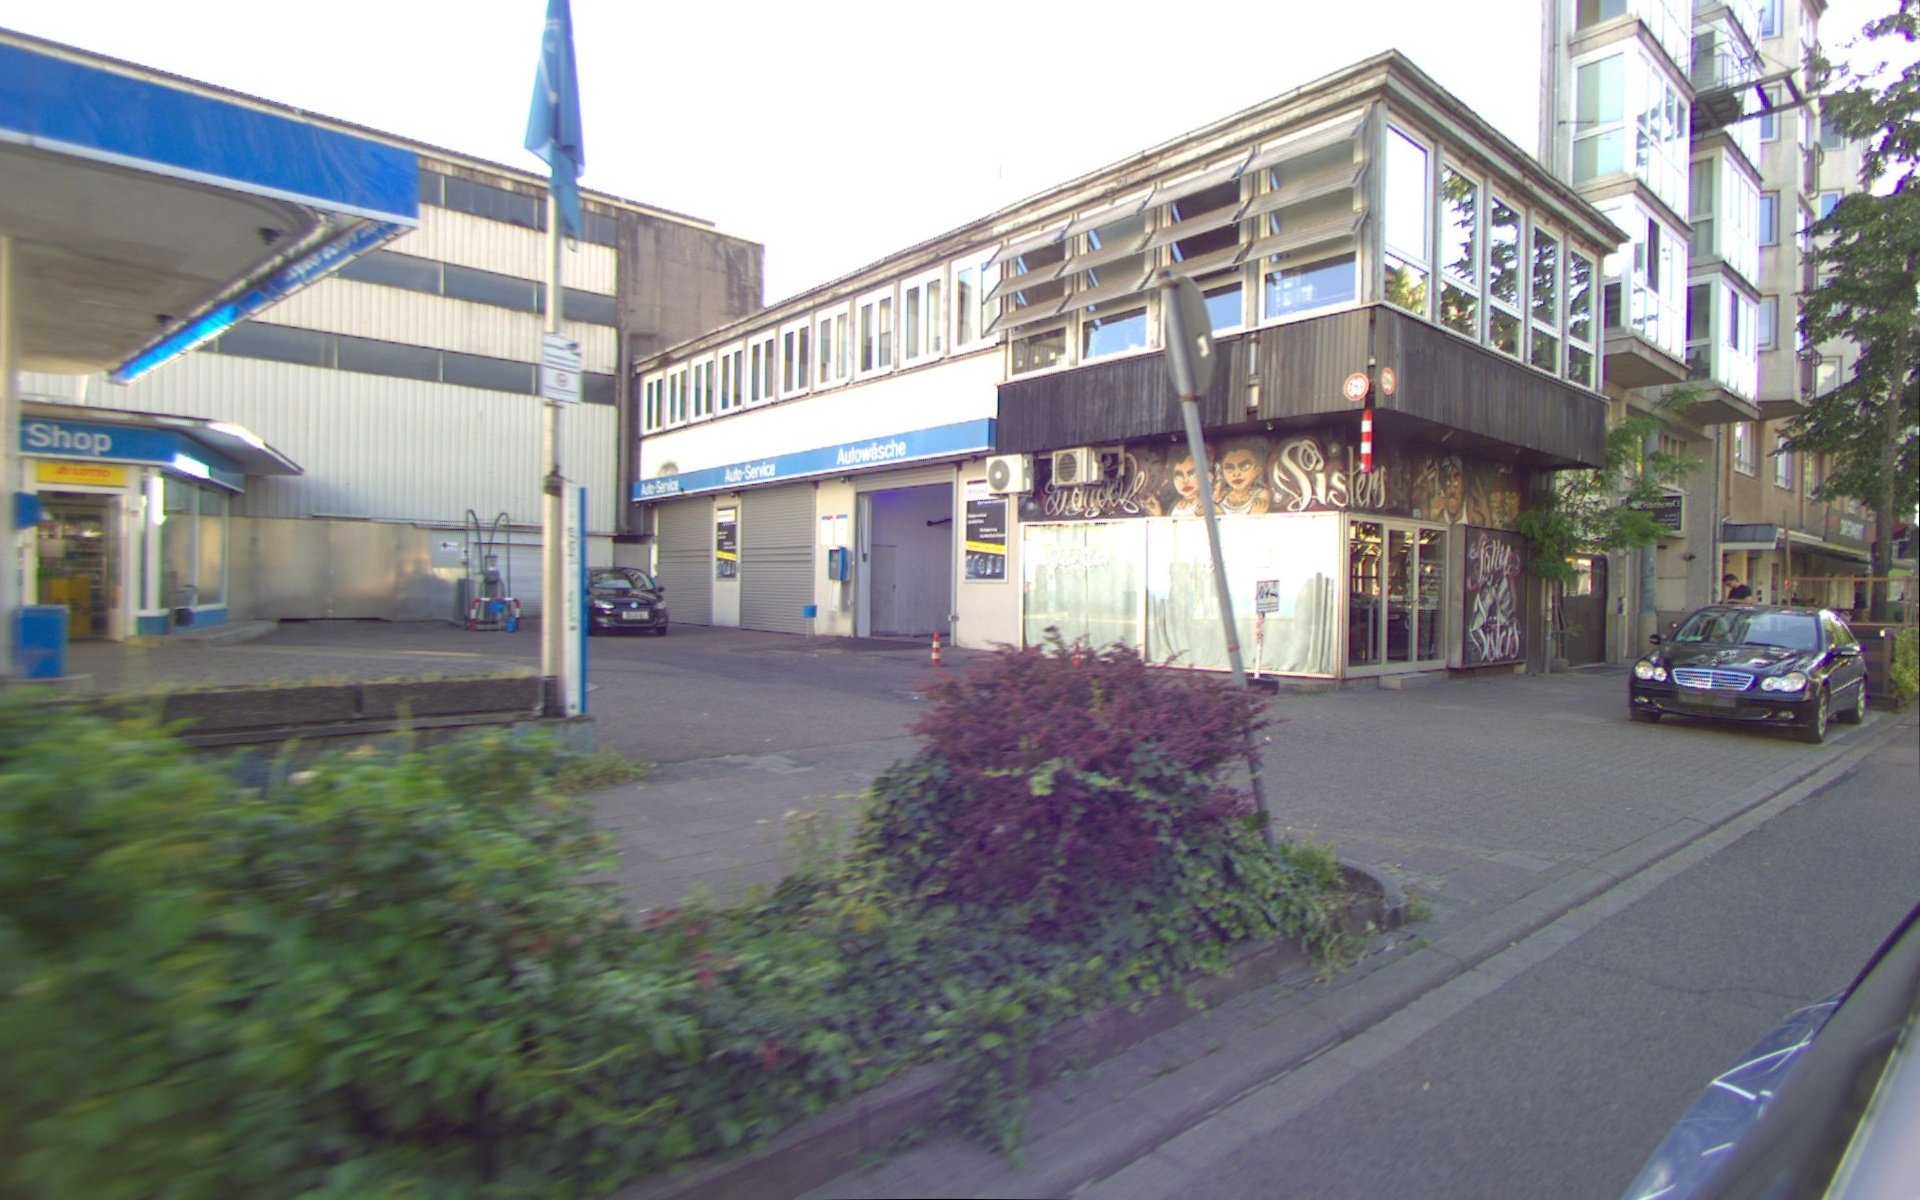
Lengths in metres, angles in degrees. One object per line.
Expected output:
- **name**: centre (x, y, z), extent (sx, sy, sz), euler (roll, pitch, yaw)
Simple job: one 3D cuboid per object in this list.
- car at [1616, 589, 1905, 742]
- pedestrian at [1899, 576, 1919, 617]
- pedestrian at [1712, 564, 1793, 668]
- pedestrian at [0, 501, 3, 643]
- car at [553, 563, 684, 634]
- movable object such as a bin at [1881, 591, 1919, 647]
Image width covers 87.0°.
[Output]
- **car**: centre (9.779, 0.632, 12.224), extent (4.566, 1.429, 1.905), euler (0, 3, -41)
- **pedestrian**: centre (39.727, -0.144, 42.225), extent (0.493, 1.717, 0.632), euler (1, 1, -22)
- **pedestrian**: centre (15.340, 0.299, 19.604), extent (0.745, 1.960, 0.930), euler (1, 1, -15)
- **pedestrian**: centre (-12.536, -0.356, 12.658), extent (0.807, 1.764, 0.816), euler (0, 1, -43)
- **car**: centre (-7.501, -0.081, 21.998), extent (1.869, 1.375, 4.004), euler (0, 2, -31)
- **movable object such as a bin**: centre (25.665, 0.497, 27.270), extent (1.272, 1.449, 1.079), euler (0, 1, -41)
